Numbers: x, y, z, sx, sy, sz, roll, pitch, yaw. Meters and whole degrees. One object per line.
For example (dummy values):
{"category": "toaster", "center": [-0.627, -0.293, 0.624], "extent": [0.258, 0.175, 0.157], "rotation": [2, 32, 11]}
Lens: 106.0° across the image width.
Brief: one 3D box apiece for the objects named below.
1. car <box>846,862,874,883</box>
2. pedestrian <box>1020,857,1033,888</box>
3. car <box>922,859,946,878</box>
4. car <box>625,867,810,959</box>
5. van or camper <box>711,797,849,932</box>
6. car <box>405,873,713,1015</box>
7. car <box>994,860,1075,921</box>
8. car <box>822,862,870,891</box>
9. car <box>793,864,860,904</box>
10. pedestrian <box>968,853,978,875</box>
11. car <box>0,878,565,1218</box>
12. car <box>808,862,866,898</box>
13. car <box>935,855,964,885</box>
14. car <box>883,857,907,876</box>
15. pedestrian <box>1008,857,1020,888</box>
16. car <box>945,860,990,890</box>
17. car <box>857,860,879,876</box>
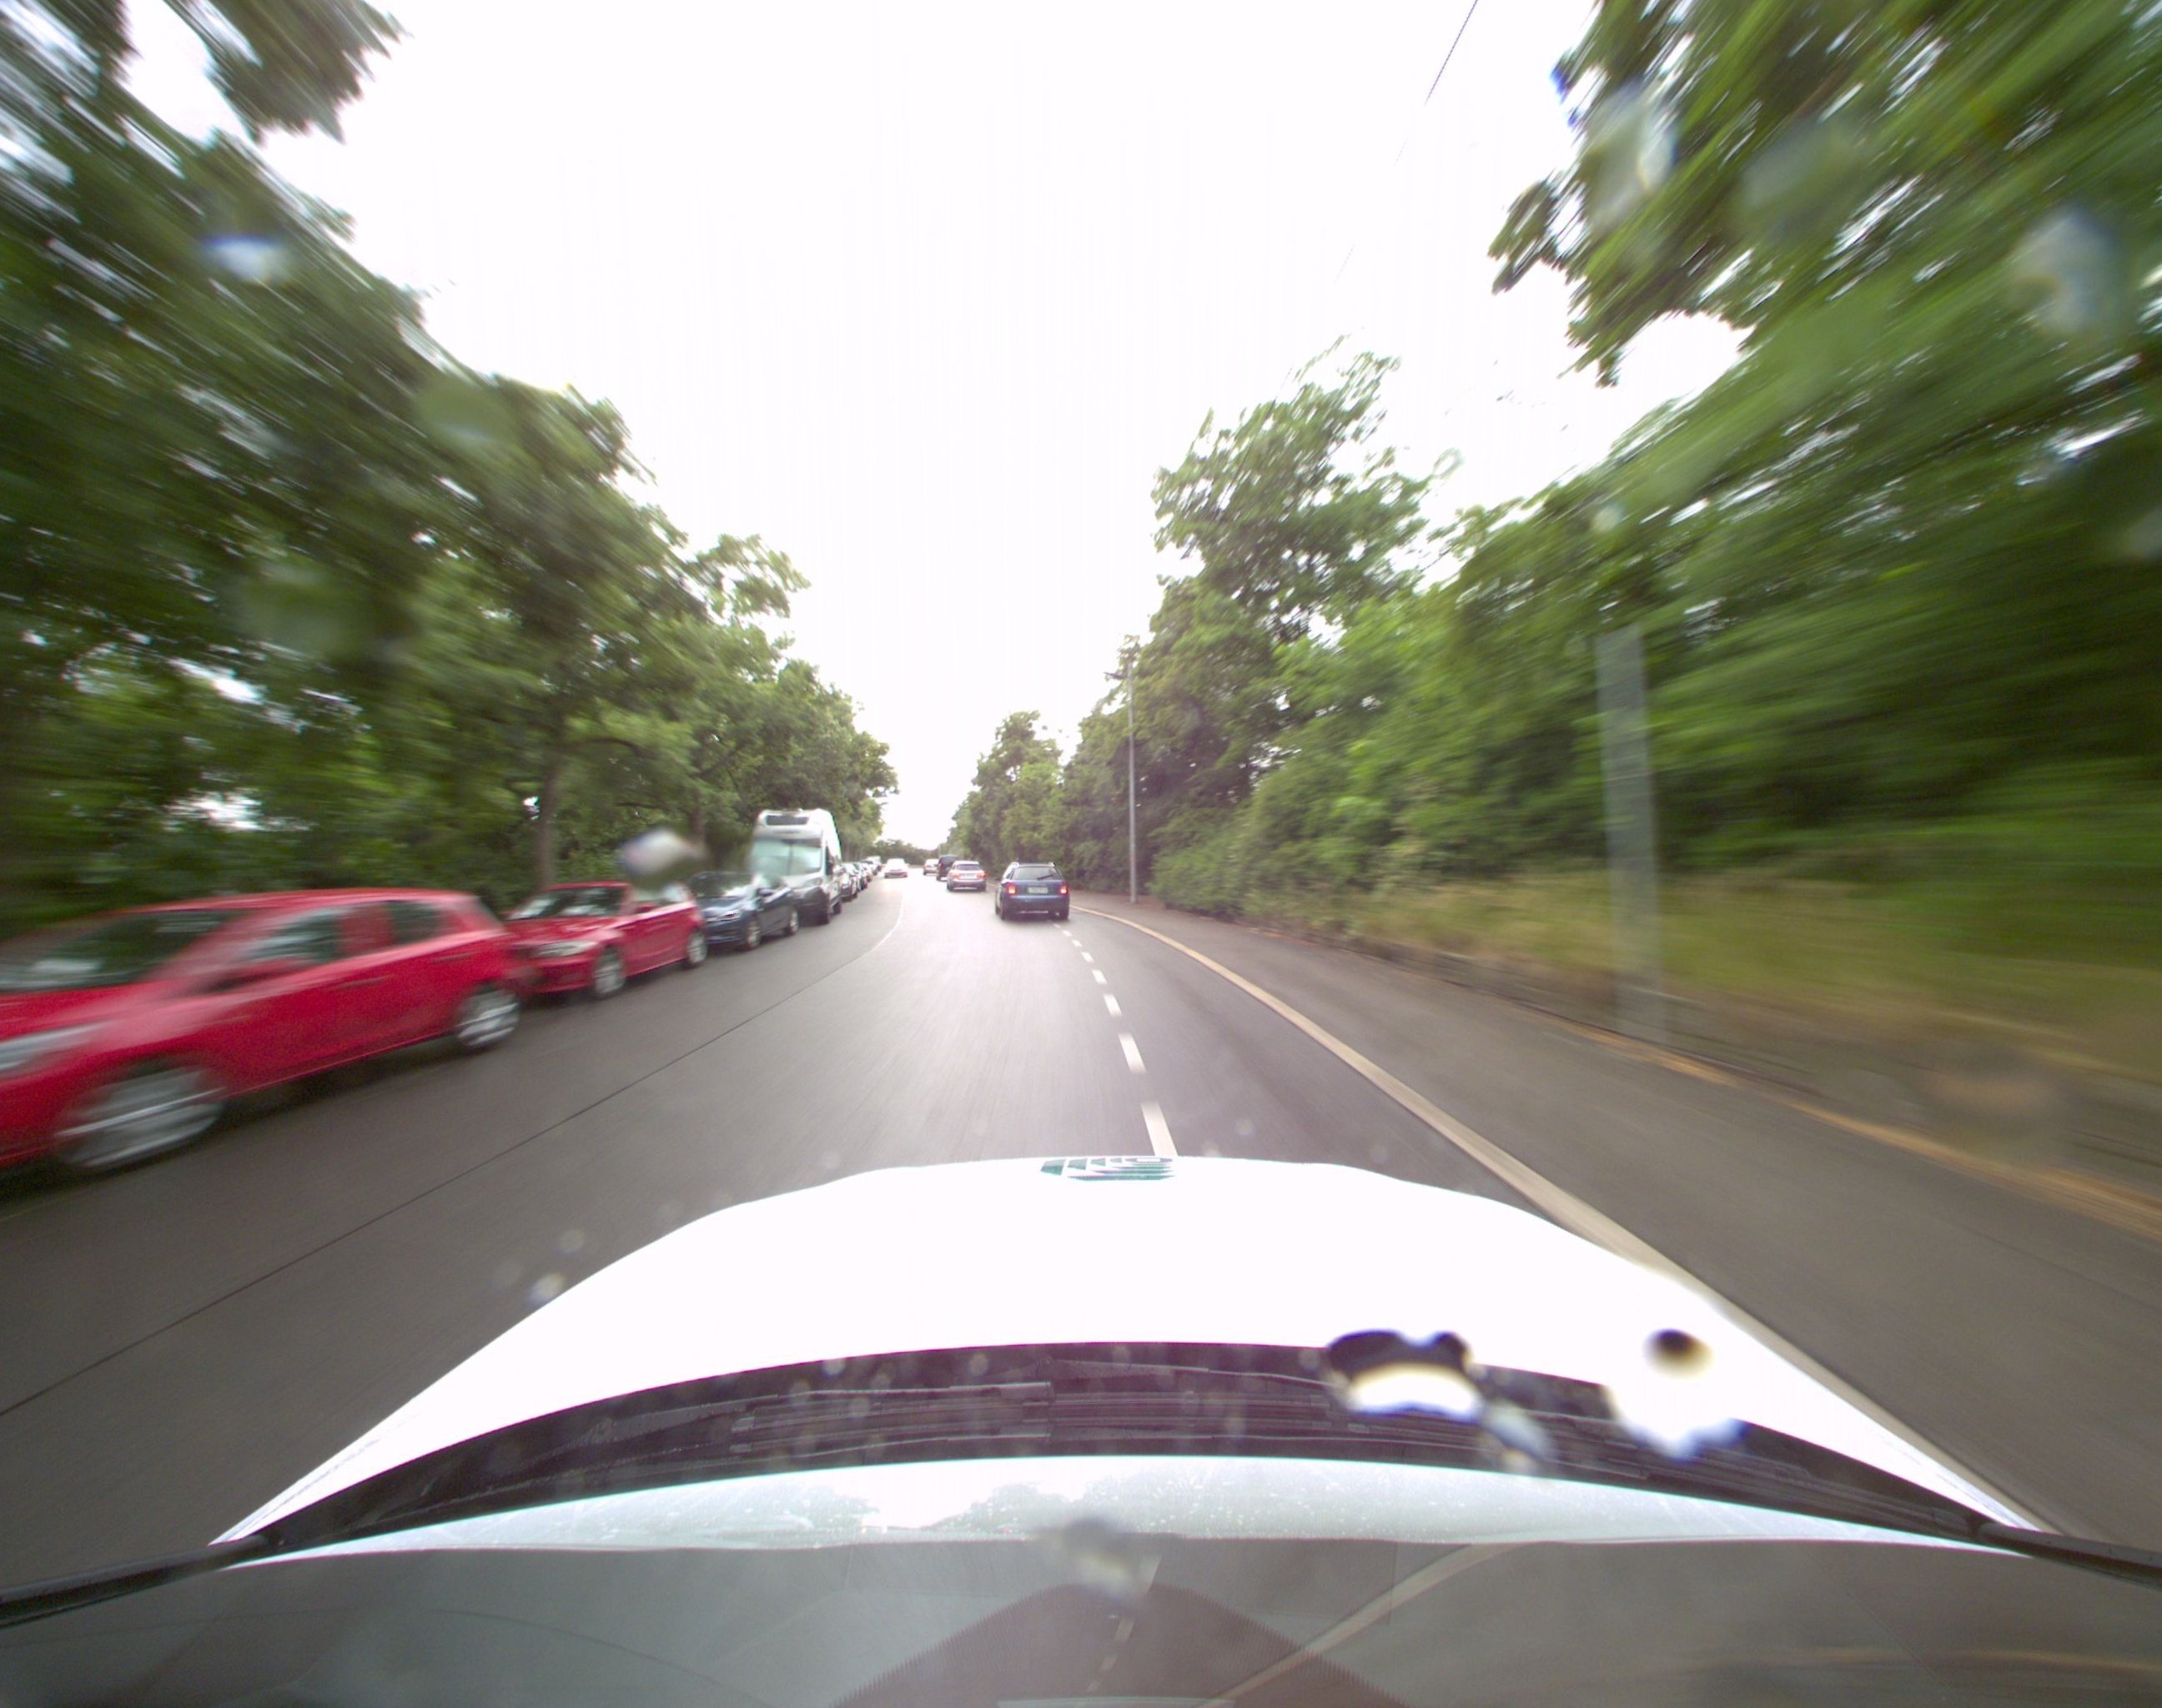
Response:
{"category": "car", "center": [-15.747, 1.277, 58.260], "extent": [1.756, 1.402, 4.399], "rotation": [-1, -1, -13]}
{"category": "pedestrian", "center": [-2.784, 0.921, 41.580], "extent": [0.595, 1.566, 0.667], "rotation": [-1, -1, -9]}
{"category": "car", "center": [-13.373, 1.292, 73.977], "extent": [1.825, 1.617, 3.766], "rotation": [-2, -1, -14]}
{"category": "car", "center": [-7.055, 1.059, 16.343], "extent": [1.950, 1.408, 4.202], "rotation": [-3, 0, -4]}
{"category": "van or camper", "center": [-8.036, 0.274, 22.515], "extent": [2.508, 3.026, 6.533], "rotation": [-4, 0, -13]}
{"category": "car", "center": [-6.738, 1.058, 11.049], "extent": [1.950, 1.408, 3.539], "rotation": [-3, 0, -4]}
{"category": "car", "center": [-1.334, 0.901, 21.821], "extent": [1.747, 1.407, 3.987], "rotation": [0, 0, -9]}
{"category": "car", "center": [-12.586, 1.168, 43.800], "extent": [1.994, 1.405, 4.696], "rotation": [-2, 0, -11]}
{"category": "car", "center": [-10.174, 1.147, 32.924], "extent": [1.995, 1.309, 5.334], "rotation": [-2, 1, -11]}
{"category": "pedestrian", "center": [-9.371, 0.837, 70.394], "extent": [0.717, 1.835, 1.017], "rotation": [-2, 0, -11]}
{"category": "car", "center": [-6.171, 1.035, 5.929], "extent": [1.949, 1.461, 4.571], "rotation": [-3, 0, -2]}
{"category": "car", "center": [-11.507, 1.190, 38.742], "extent": [1.993, 1.405, 4.699], "rotation": [-2, 1, -9]}
{"category": "car", "center": [-9.588, 1.202, 59.005], "extent": [1.790, 1.953, 3.983], "rotation": [-4, -1, -12]}
{"category": "car", "center": [-15.198, 1.029, 66.568], "extent": [1.885, 1.402, 4.236], "rotation": [-1, -1, -13]}
{"category": "pedestrian", "center": [-3.420, 0.959, 41.688], "extent": [0.552, 1.566, 0.485], "rotation": [-2, 0, -9]}
{"category": "car", "center": [-5.709, 1.012, 40.556], "extent": [1.892, 1.389, 3.982], "rotation": [-1, 0, -13]}
{"category": "car", "center": [-20.063, 1.274, 76.759], "extent": [1.689, 1.437, 4.239], "rotation": [0, -1, -11]}
